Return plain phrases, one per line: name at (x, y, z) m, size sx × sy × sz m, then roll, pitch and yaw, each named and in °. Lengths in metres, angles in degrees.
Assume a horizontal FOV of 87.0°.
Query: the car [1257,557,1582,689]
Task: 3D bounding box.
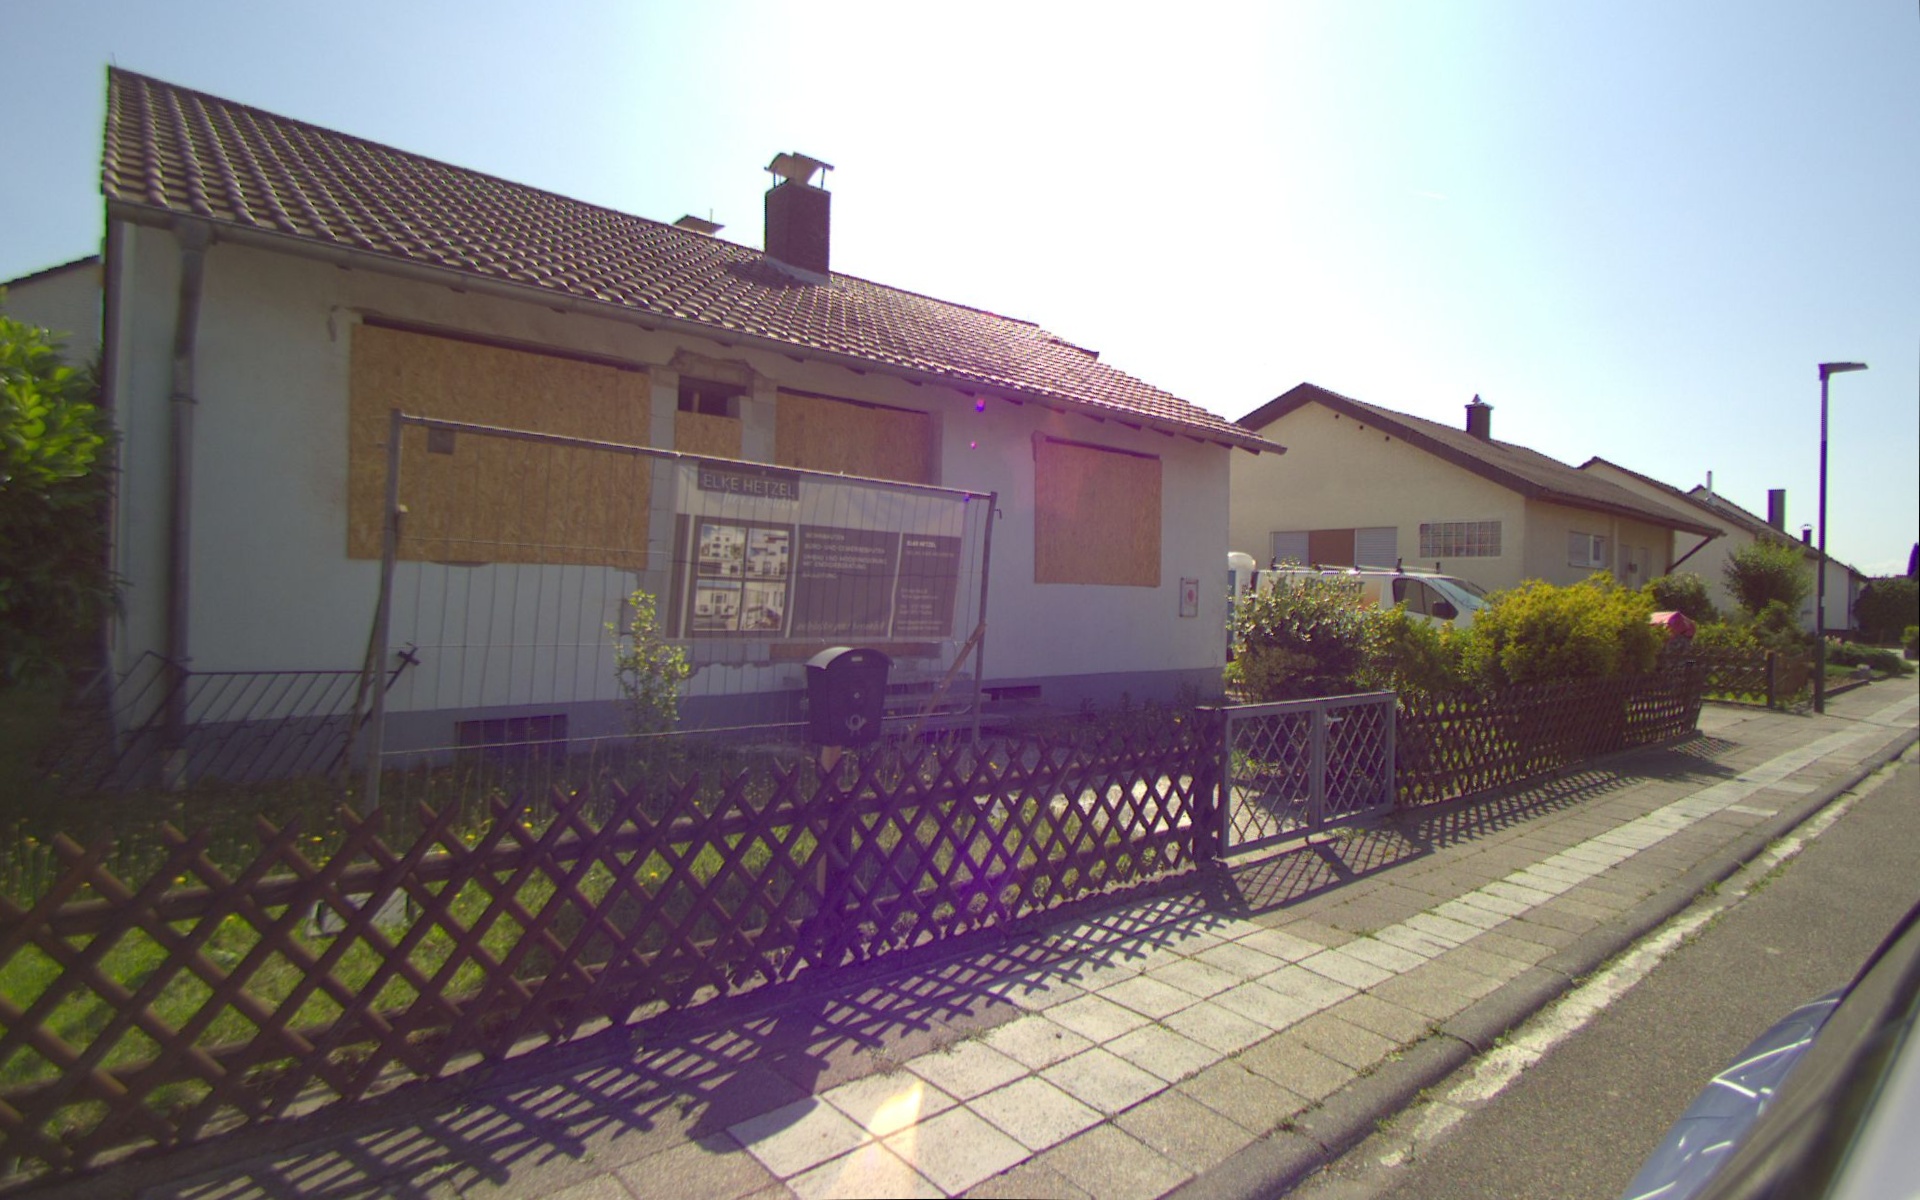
car at (8.013, 0.304, 18.140) m, size 1.834 × 2.039 × 5.008 m, roll 1°, pitch 1°, yaw -39°
